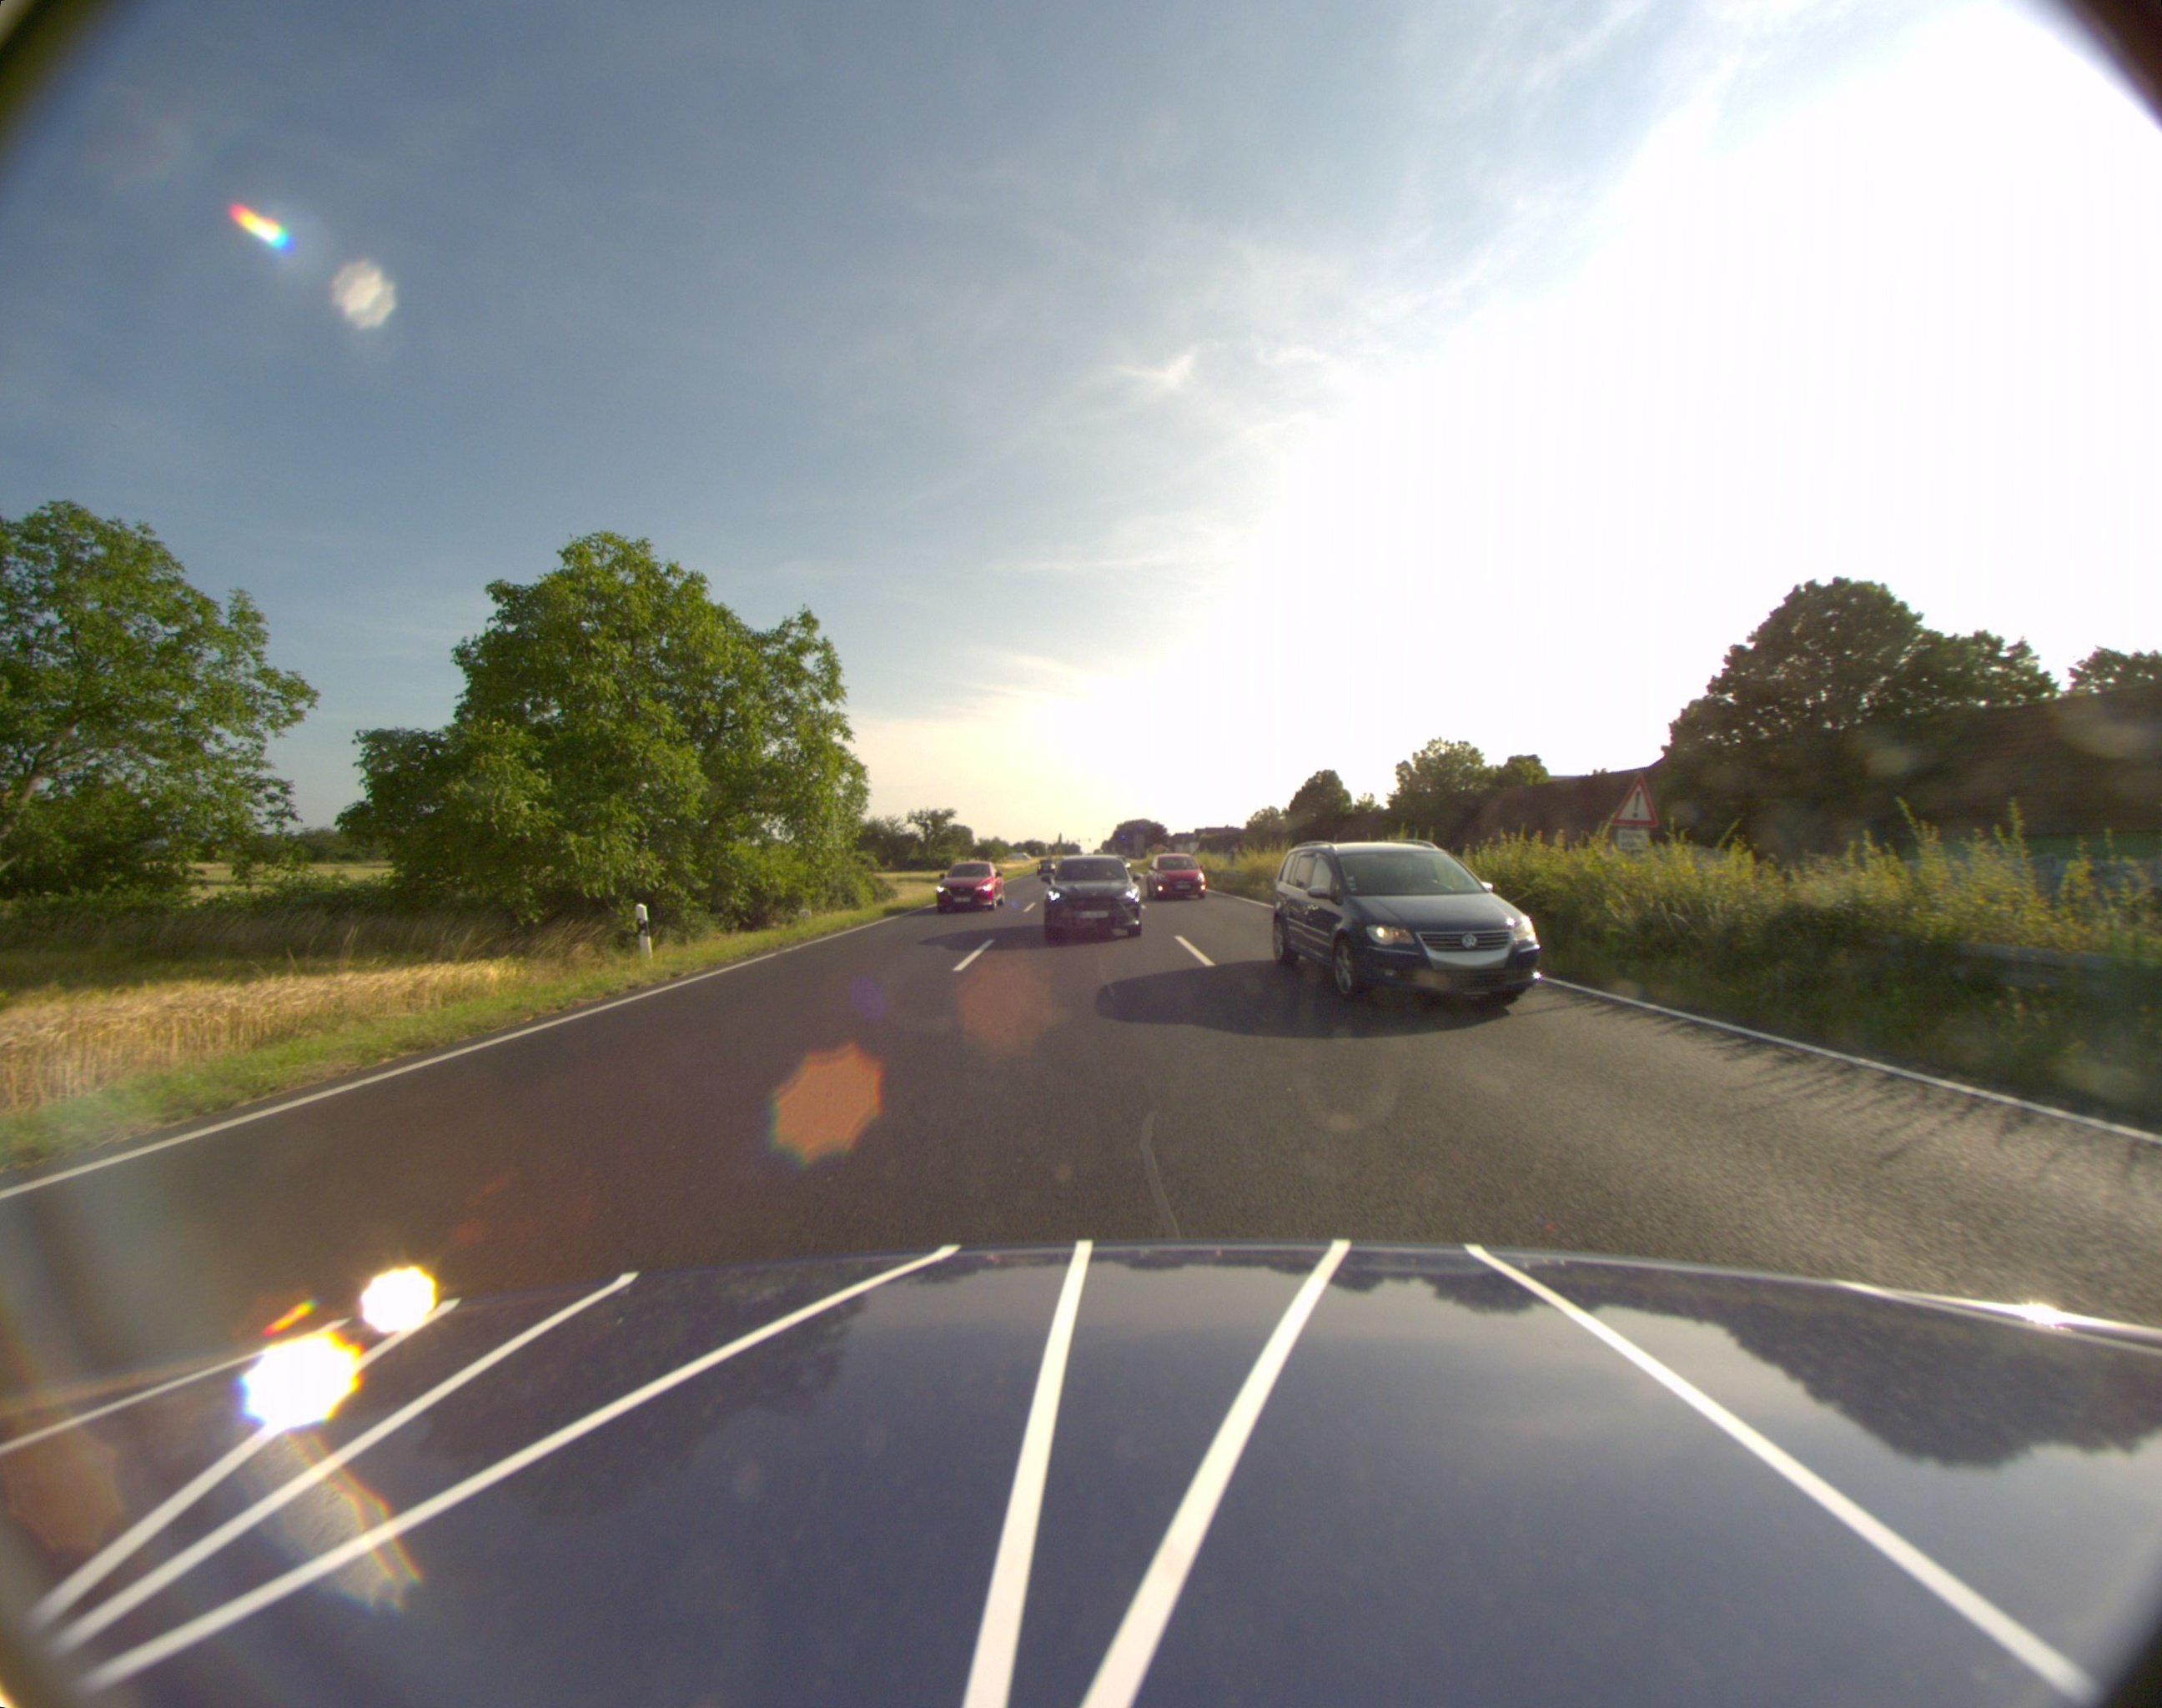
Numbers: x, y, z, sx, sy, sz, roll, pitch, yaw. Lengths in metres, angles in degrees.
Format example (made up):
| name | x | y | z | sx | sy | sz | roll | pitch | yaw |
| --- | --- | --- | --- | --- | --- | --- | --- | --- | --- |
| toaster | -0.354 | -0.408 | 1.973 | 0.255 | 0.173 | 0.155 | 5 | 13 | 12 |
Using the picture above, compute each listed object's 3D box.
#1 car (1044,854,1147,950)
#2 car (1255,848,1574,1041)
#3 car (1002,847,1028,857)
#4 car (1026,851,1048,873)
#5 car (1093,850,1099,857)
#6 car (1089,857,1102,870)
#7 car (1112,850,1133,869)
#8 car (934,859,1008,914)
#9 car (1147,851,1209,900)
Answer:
| name | x | y | z | sx | sy | sz | roll | pitch | yaw |
| --- | --- | --- | --- | --- | --- | --- | --- | --- | --- |
| car | 0.293 | 0.853 | 15.672 | 1.791 | 1.594 | 4.339 | -2 | 1 | 1 |
| car | 3.442 | 0.777 | 8.952 | 1.777 | 1.612 | 4.681 | -1 | 1 | 1 |
| car | -18.968 | -0.630 | 219.866 | 7.202 | 2.654 | 2.094 | 0 | 2 | 14 |
| car | -4.336 | 0.765 | 75.167 | 1.999 | 2.002 | 3.998 | -2 | 1 | -2 |
| car | 4.687 | -0.103 | 240.597 | 1.998 | 2.002 | 3.999 | -2 | 1 | 1 |
| car | 2.302 | 1.550 | 122.300 | 1.918 | 1.871 | 3.999 | -2 | 1 | 1 |
| car | 3.619 | 0.462 | 66.742 | 1.719 | 1.521 | 3.999 | -2 | 1 | 1 |
| car | -3.470 | 0.977 | 24.690 | 1.708 | 1.497 | 4.500 | -2 | 1 | 0 |
| car | 3.439 | 0.719 | 27.616 | 1.748 | 1.537 | 3.999 | -2 | 1 | 1 |
